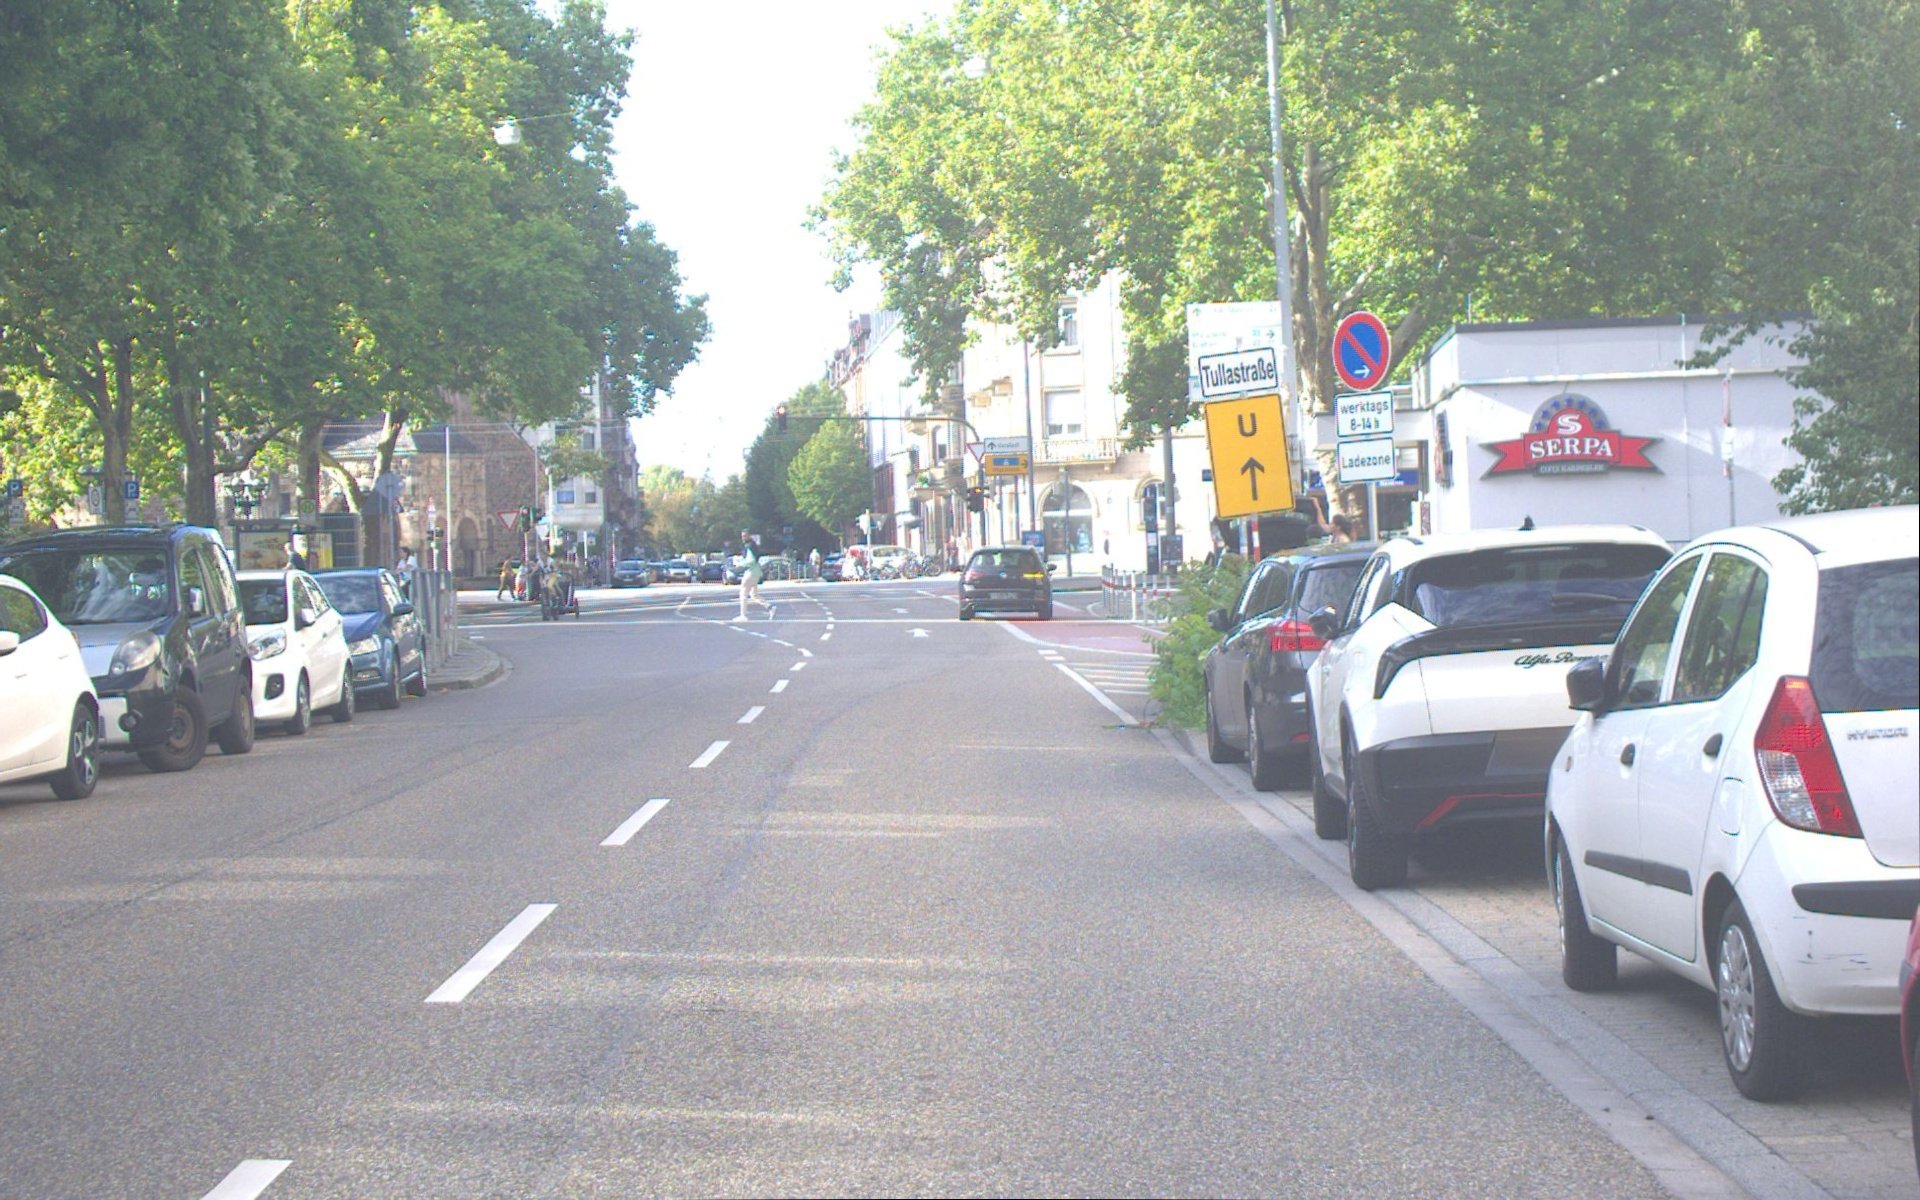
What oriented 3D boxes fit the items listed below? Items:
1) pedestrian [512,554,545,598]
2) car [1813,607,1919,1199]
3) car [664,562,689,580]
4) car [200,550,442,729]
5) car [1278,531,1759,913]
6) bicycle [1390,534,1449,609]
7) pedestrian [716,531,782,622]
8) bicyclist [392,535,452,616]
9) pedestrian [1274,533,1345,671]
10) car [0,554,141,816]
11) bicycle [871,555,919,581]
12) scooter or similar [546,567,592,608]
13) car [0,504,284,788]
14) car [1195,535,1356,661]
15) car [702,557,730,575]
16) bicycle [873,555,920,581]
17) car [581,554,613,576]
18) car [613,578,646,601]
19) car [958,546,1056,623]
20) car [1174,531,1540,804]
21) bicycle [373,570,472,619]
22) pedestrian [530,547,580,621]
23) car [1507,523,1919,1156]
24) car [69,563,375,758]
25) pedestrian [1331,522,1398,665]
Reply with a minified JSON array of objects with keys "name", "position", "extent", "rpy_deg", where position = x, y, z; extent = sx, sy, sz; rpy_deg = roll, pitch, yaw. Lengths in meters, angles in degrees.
[{"name":"pedestrian","position":[-14.227,-0.800,113.327],"extent":[0.782,1.427,0.730],"rpy_deg":[0,1,24]},{"name":"car","position":[2.832,0.707,6.043],"extent":[1.515,1.393,3.677],"rpy_deg":[-3,1,-3]},{"name":"car","position":[-20.069,-2.042,243.682],"extent":[1.550,1.225,3.588],"rpy_deg":[-1,1,-1]},{"name":"car","position":[-6.530,0.360,35.495],"extent":[1.799,1.614,3.803],"rpy_deg":[-4,1,-2]},{"name":"car","position":[2.486,0.461,16.219],"extent":[1.690,1.523,4.237],"rpy_deg":[-2,1,2]},{"name":"bicycle","position":[7.745,-0.488,57.983],"extent":[0.769,1.202,1.815],"rpy_deg":[-3,1,3]},{"name":"pedestrian","position":[-4.099,-0.465,66.789],"extent":[1.074,1.747,0.919],"rpy_deg":[-1,1,-17]},{"name":"bicyclist","position":[-11.251,-0.515,71.893],"extent":[1.109,1.686,0.815],"rpy_deg":[-1,1,-17]},{"name":"pedestrian","position":[4.004,0.018,39.425],"extent":[0.652,1.533,0.743],"rpy_deg":[-3,1,0]},{"name":"car","position":[-6.374,0.533,20.429],"extent":[1.694,1.488,4.332],"rpy_deg":[-3,1,3]},{"name":"bicycle","position":[-2.921,-1.446,154.490],"extent":[2.022,1.078,0.620],"rpy_deg":[-2,1,-13]},{"name":"scooter or similar","position":[-9.008,-0.288,79.152],"extent":[0.806,0.919,1.014],"rpy_deg":[-1,1,8]},{"name":"car","position":[-6.336,0.292,25.583],"extent":[1.723,1.876,4.192],"rpy_deg":[-3,1,-1]},{"name":"car","position":[3.865,-0.060,42.656],"extent":[1.761,1.407,4.232],"rpy_deg":[-3,1,3]},{"name":"car","position":[-17.300,-2.398,244.064],"extent":[1.778,1.225,3.588],"rpy_deg":[-1,1,-1]},{"name":"bicycle","position":[-2.856,-1.444,155.148],"extent":[2.022,1.078,0.631],"rpy_deg":[-2,1,-13]},{"name":"car","position":[-20.999,-2.022,199.066],"extent":[1.550,1.225,3.588],"rpy_deg":[-1,1,-1]},{"name":"car","position":[-18.210,-0.576,189.534],"extent":[1.550,1.225,3.588],"rpy_deg":[-1,1,-1]},{"name":"car","position":[0.884,-0.318,66.477],"extent":[1.751,1.409,4.000],"rpy_deg":[-1,1,-1]},{"name":"car","position":[2.443,0.354,22.092],"extent":[1.690,1.523,4.238],"rpy_deg":[-2,1,-2]},{"name":"bicycle","position":[-11.251,-0.126,71.931],"extent":[1.920,0.990,0.763],"rpy_deg":[-1,1,-20]},{"name":"pedestrian","position":[-9.187,-0.366,78.005],"extent":[0.813,1.648,1.076],"rpy_deg":[-1,1,9]},{"name":"car","position":[2.710,0.560,10.323],"extent":[1.551,1.552,3.468],"rpy_deg":[-2,1,0]},{"name":"car","position":[-6.550,0.489,30.920],"extent":[1.799,1.488,3.803],"rpy_deg":[-4,1,1]},{"name":"pedestrian","position":[4.706,-0.080,40.026],"extent":[0.652,1.639,0.743],"rpy_deg":[-1,1,0]}]
